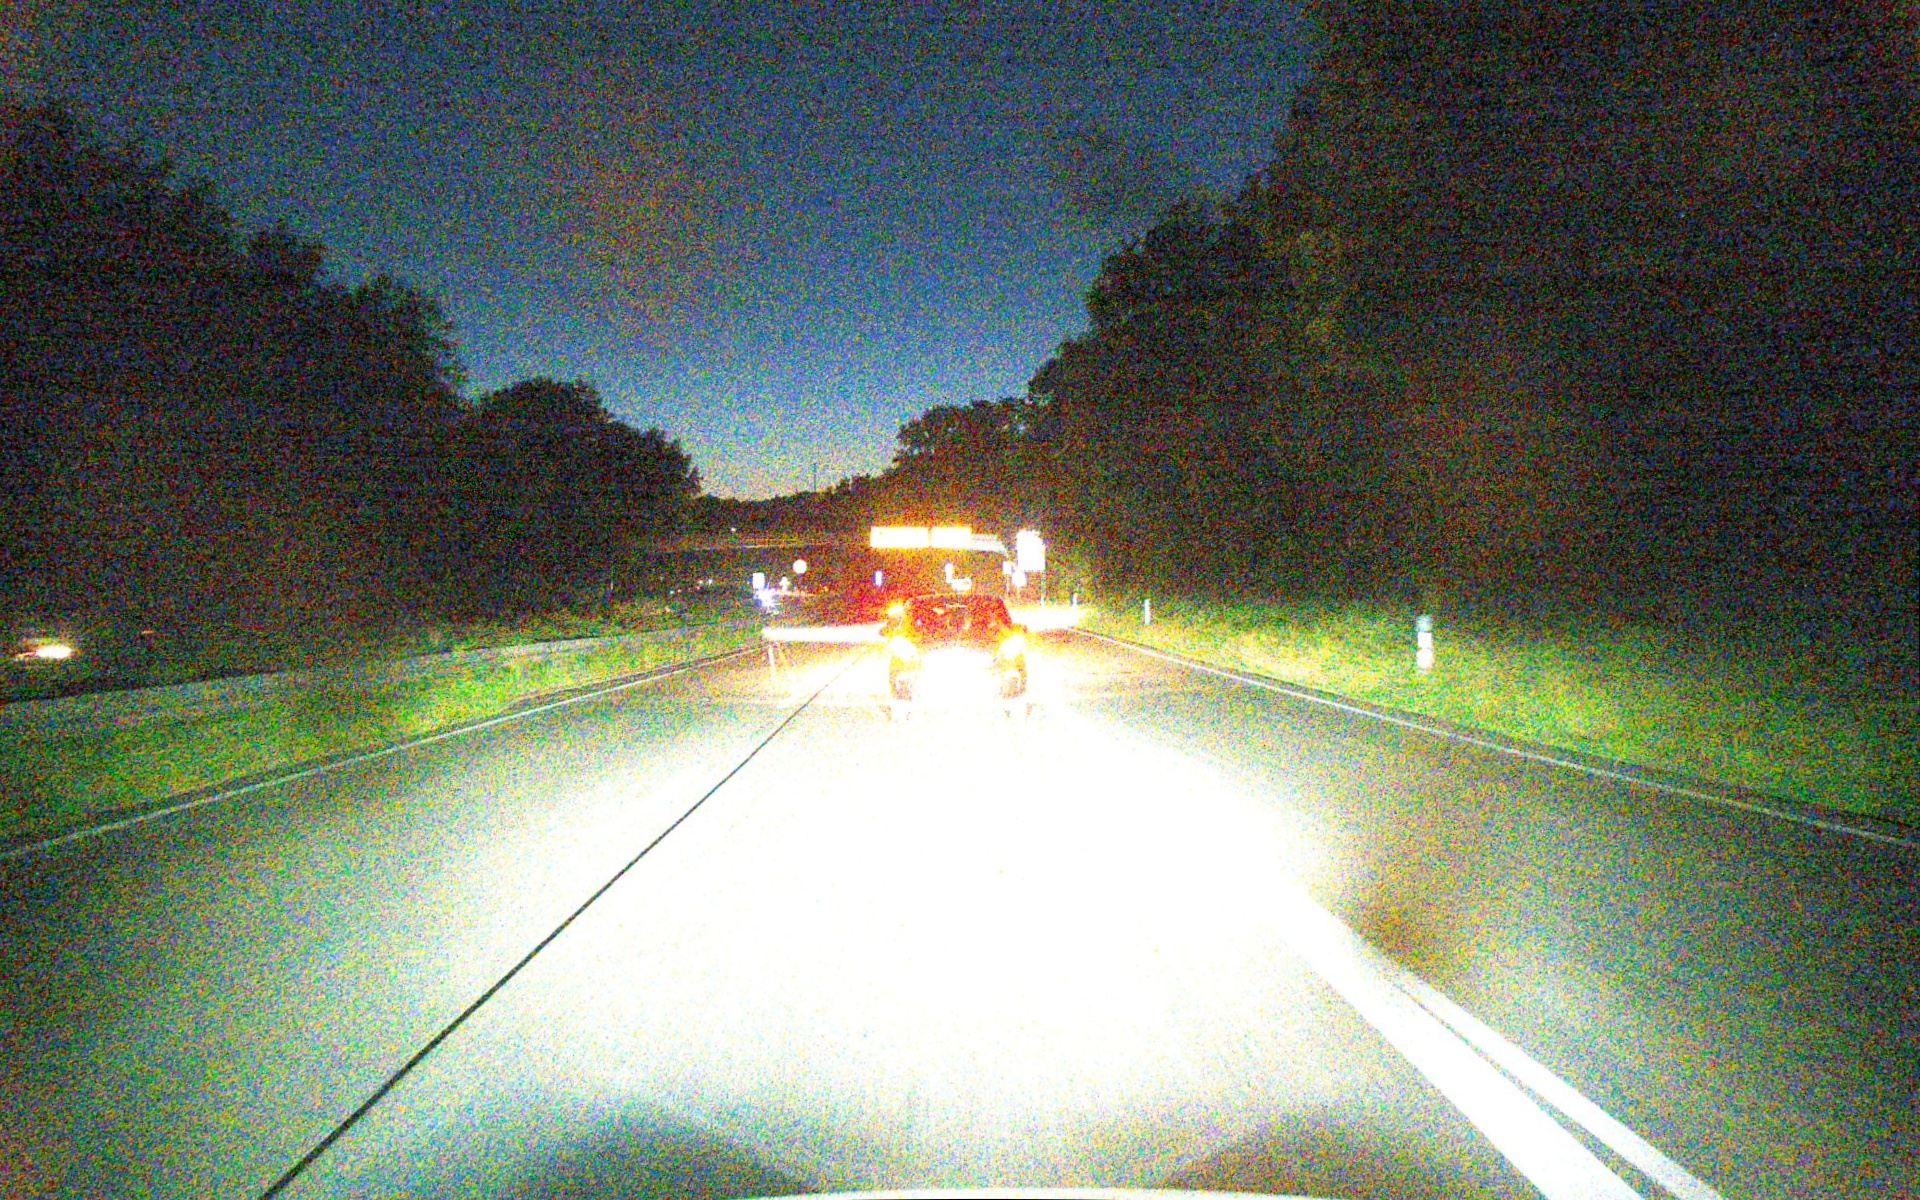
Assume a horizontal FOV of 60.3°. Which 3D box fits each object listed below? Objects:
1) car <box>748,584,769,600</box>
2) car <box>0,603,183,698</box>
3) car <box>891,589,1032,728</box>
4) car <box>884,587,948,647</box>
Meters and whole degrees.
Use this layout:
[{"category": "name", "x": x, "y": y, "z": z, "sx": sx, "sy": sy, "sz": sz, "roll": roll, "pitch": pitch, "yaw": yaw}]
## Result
[{"category": "car", "x": -23.175, "y": -0.906, "z": 190.397, "sx": 1.927, "sy": 1.794, "sz": 5.030, "roll": -2, "pitch": 1, "yaw": -2}, {"category": "car", "x": -15.811, "y": 0.854, "z": 29.377, "sx": 1.918, "sy": 1.482, "sz": 4.336, "roll": -2, "pitch": 1, "yaw": 0}, {"category": "car", "x": -0.068, "y": 0.640, "z": 20.417, "sx": 1.556, "sy": 1.534, "sz": 3.998, "roll": 0, "pitch": 0, "yaw": -3}, {"category": "car", "x": -1.352, "y": 0.487, "z": 50.666, "sx": 1.868, "sy": 1.728, "sz": 3.999, "roll": 0, "pitch": 1, "yaw": -2}]
